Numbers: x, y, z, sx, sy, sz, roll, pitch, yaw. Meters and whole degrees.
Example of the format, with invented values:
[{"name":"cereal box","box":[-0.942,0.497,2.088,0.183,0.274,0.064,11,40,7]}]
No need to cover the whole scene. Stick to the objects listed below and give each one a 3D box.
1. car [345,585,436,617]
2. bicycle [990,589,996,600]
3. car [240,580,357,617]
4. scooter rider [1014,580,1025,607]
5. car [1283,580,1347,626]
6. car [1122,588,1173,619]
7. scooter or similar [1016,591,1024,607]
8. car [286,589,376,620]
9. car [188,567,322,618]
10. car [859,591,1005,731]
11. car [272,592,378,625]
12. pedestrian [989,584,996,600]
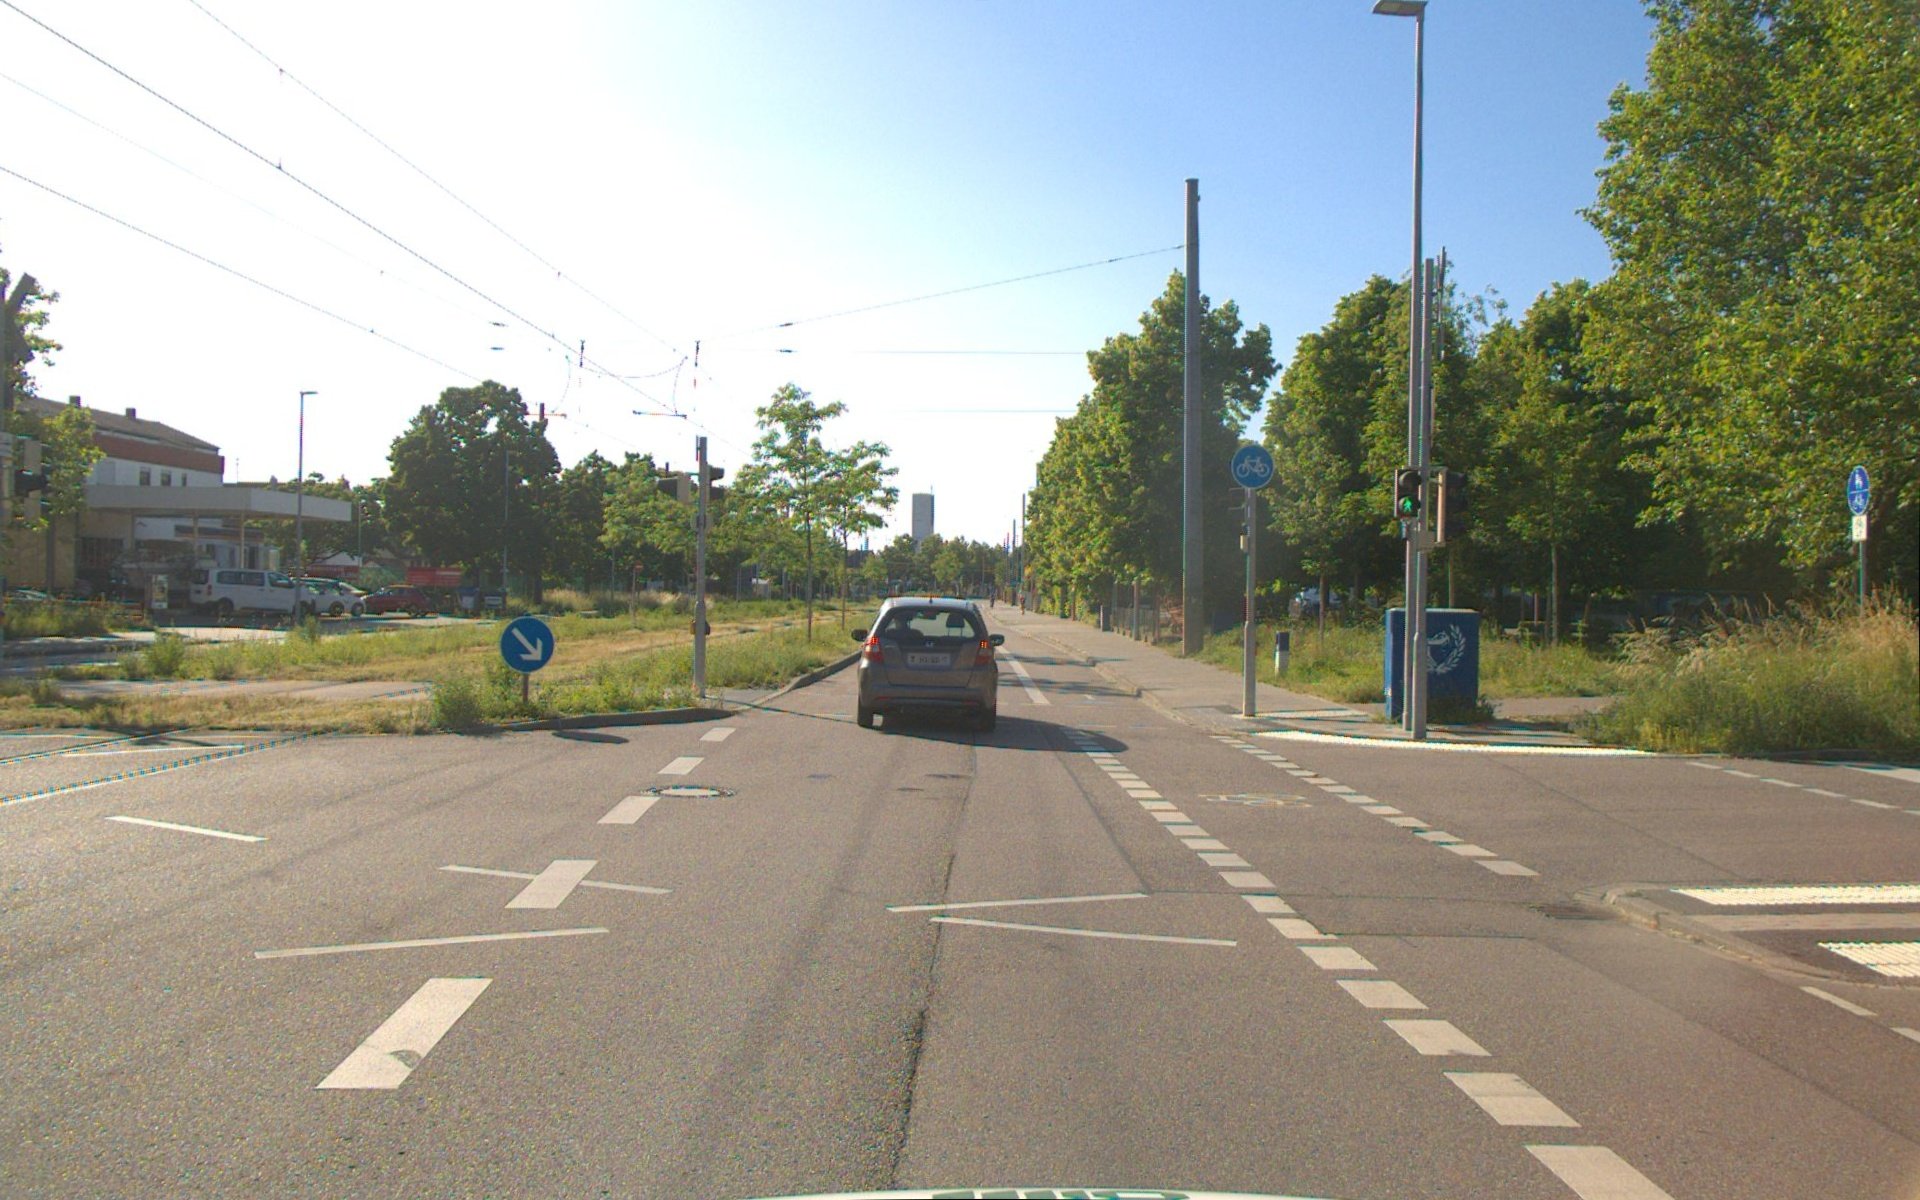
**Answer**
[{"name":"car","box":[-28.848,0.055,83.918,3.988,1.596,1.791,0,0,-2]},{"name":"bicycle","box":[3.619,-0.598,182.892,0.502,1.263,3.089,0,0,-1]},{"name":"car","box":[-28.684,-0.084,71.836,1.757,1.554,4.451,0,0,38]},{"name":"scooter rider","box":[4.296,-0.443,119.836,0.701,1.934,0.934,1,0,-2]},{"name":"car","box":[16.322,0.150,76.264,1.833,2.001,5.167,1,0,0]},{"name":"car","box":[8.642,0.164,76.500,1.738,1.411,3.868,0,0,-3]},{"name":"scooter or similar","box":[4.344,-0.057,119.972,0.528,1.138,1.417,1,0,-2]},{"name":"car","box":[-32.834,0.236,86.368,3.988,1.596,1.791,0,0,-2]},{"name":"car","box":[-28.662,-0.314,67.381,1.825,2.008,4.765,0,0,38]},{"name":"car","box":[-0.271,0.692,20.493,1.590,1.526,3.457,2,0,2]},{"name":"car","box":[-29.112,0.367,75.951,1.753,1.496,4.463,0,0,30]},{"name":"pedestrian","box":[3.634,-0.899,182.813,0.707,1.832,1.164,0,0,-1]}]
